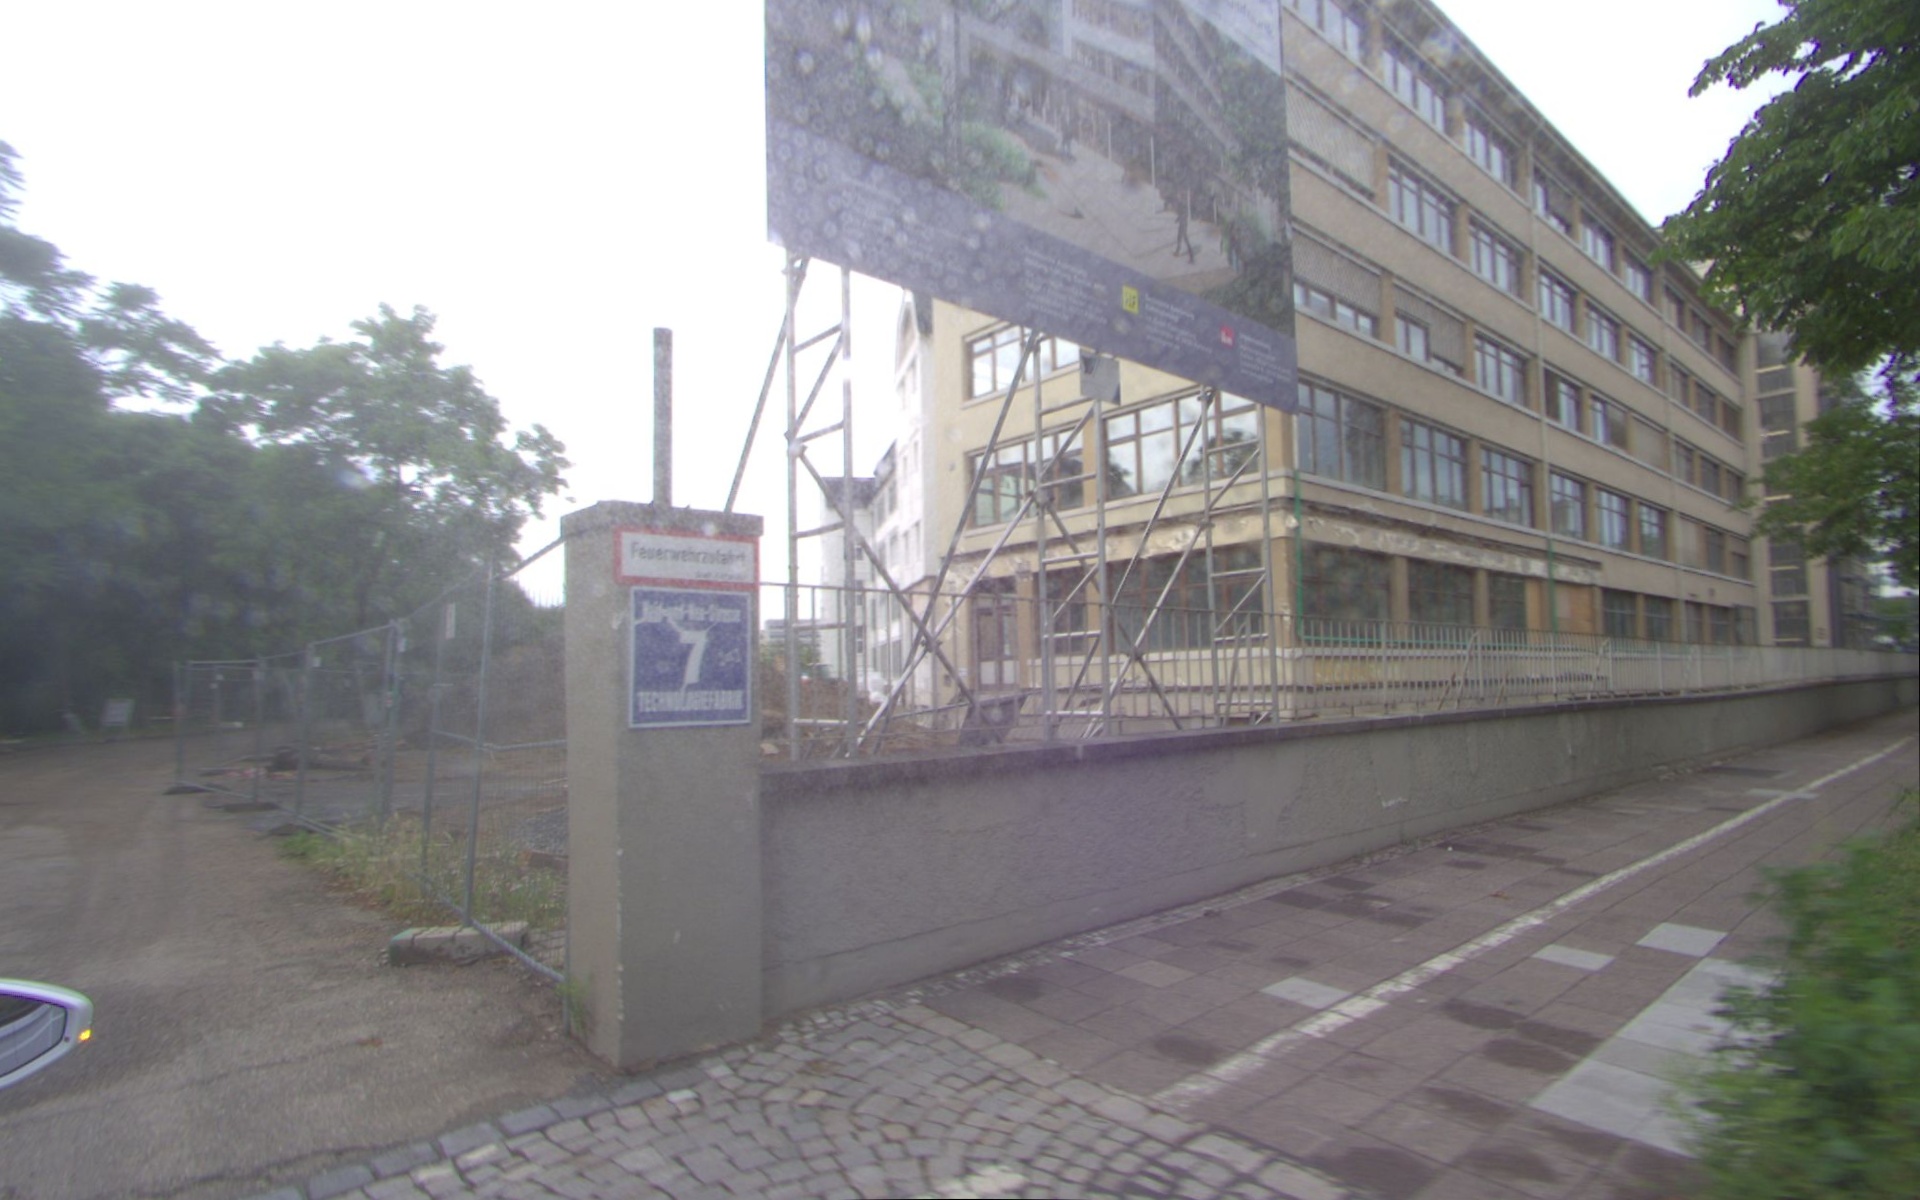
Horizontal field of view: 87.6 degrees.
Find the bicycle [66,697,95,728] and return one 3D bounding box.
[{"bbox_3d":[-26.815,3.413,30.535,0.414,0.916,1.149,2,-5,-30],"label":"bicycle"}]

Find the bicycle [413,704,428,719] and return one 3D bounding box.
[{"bbox_3d":[-36.802,7.618,68.286,0.761,0.989,2.026,2,-5,-25],"label":"bicycle"}]
